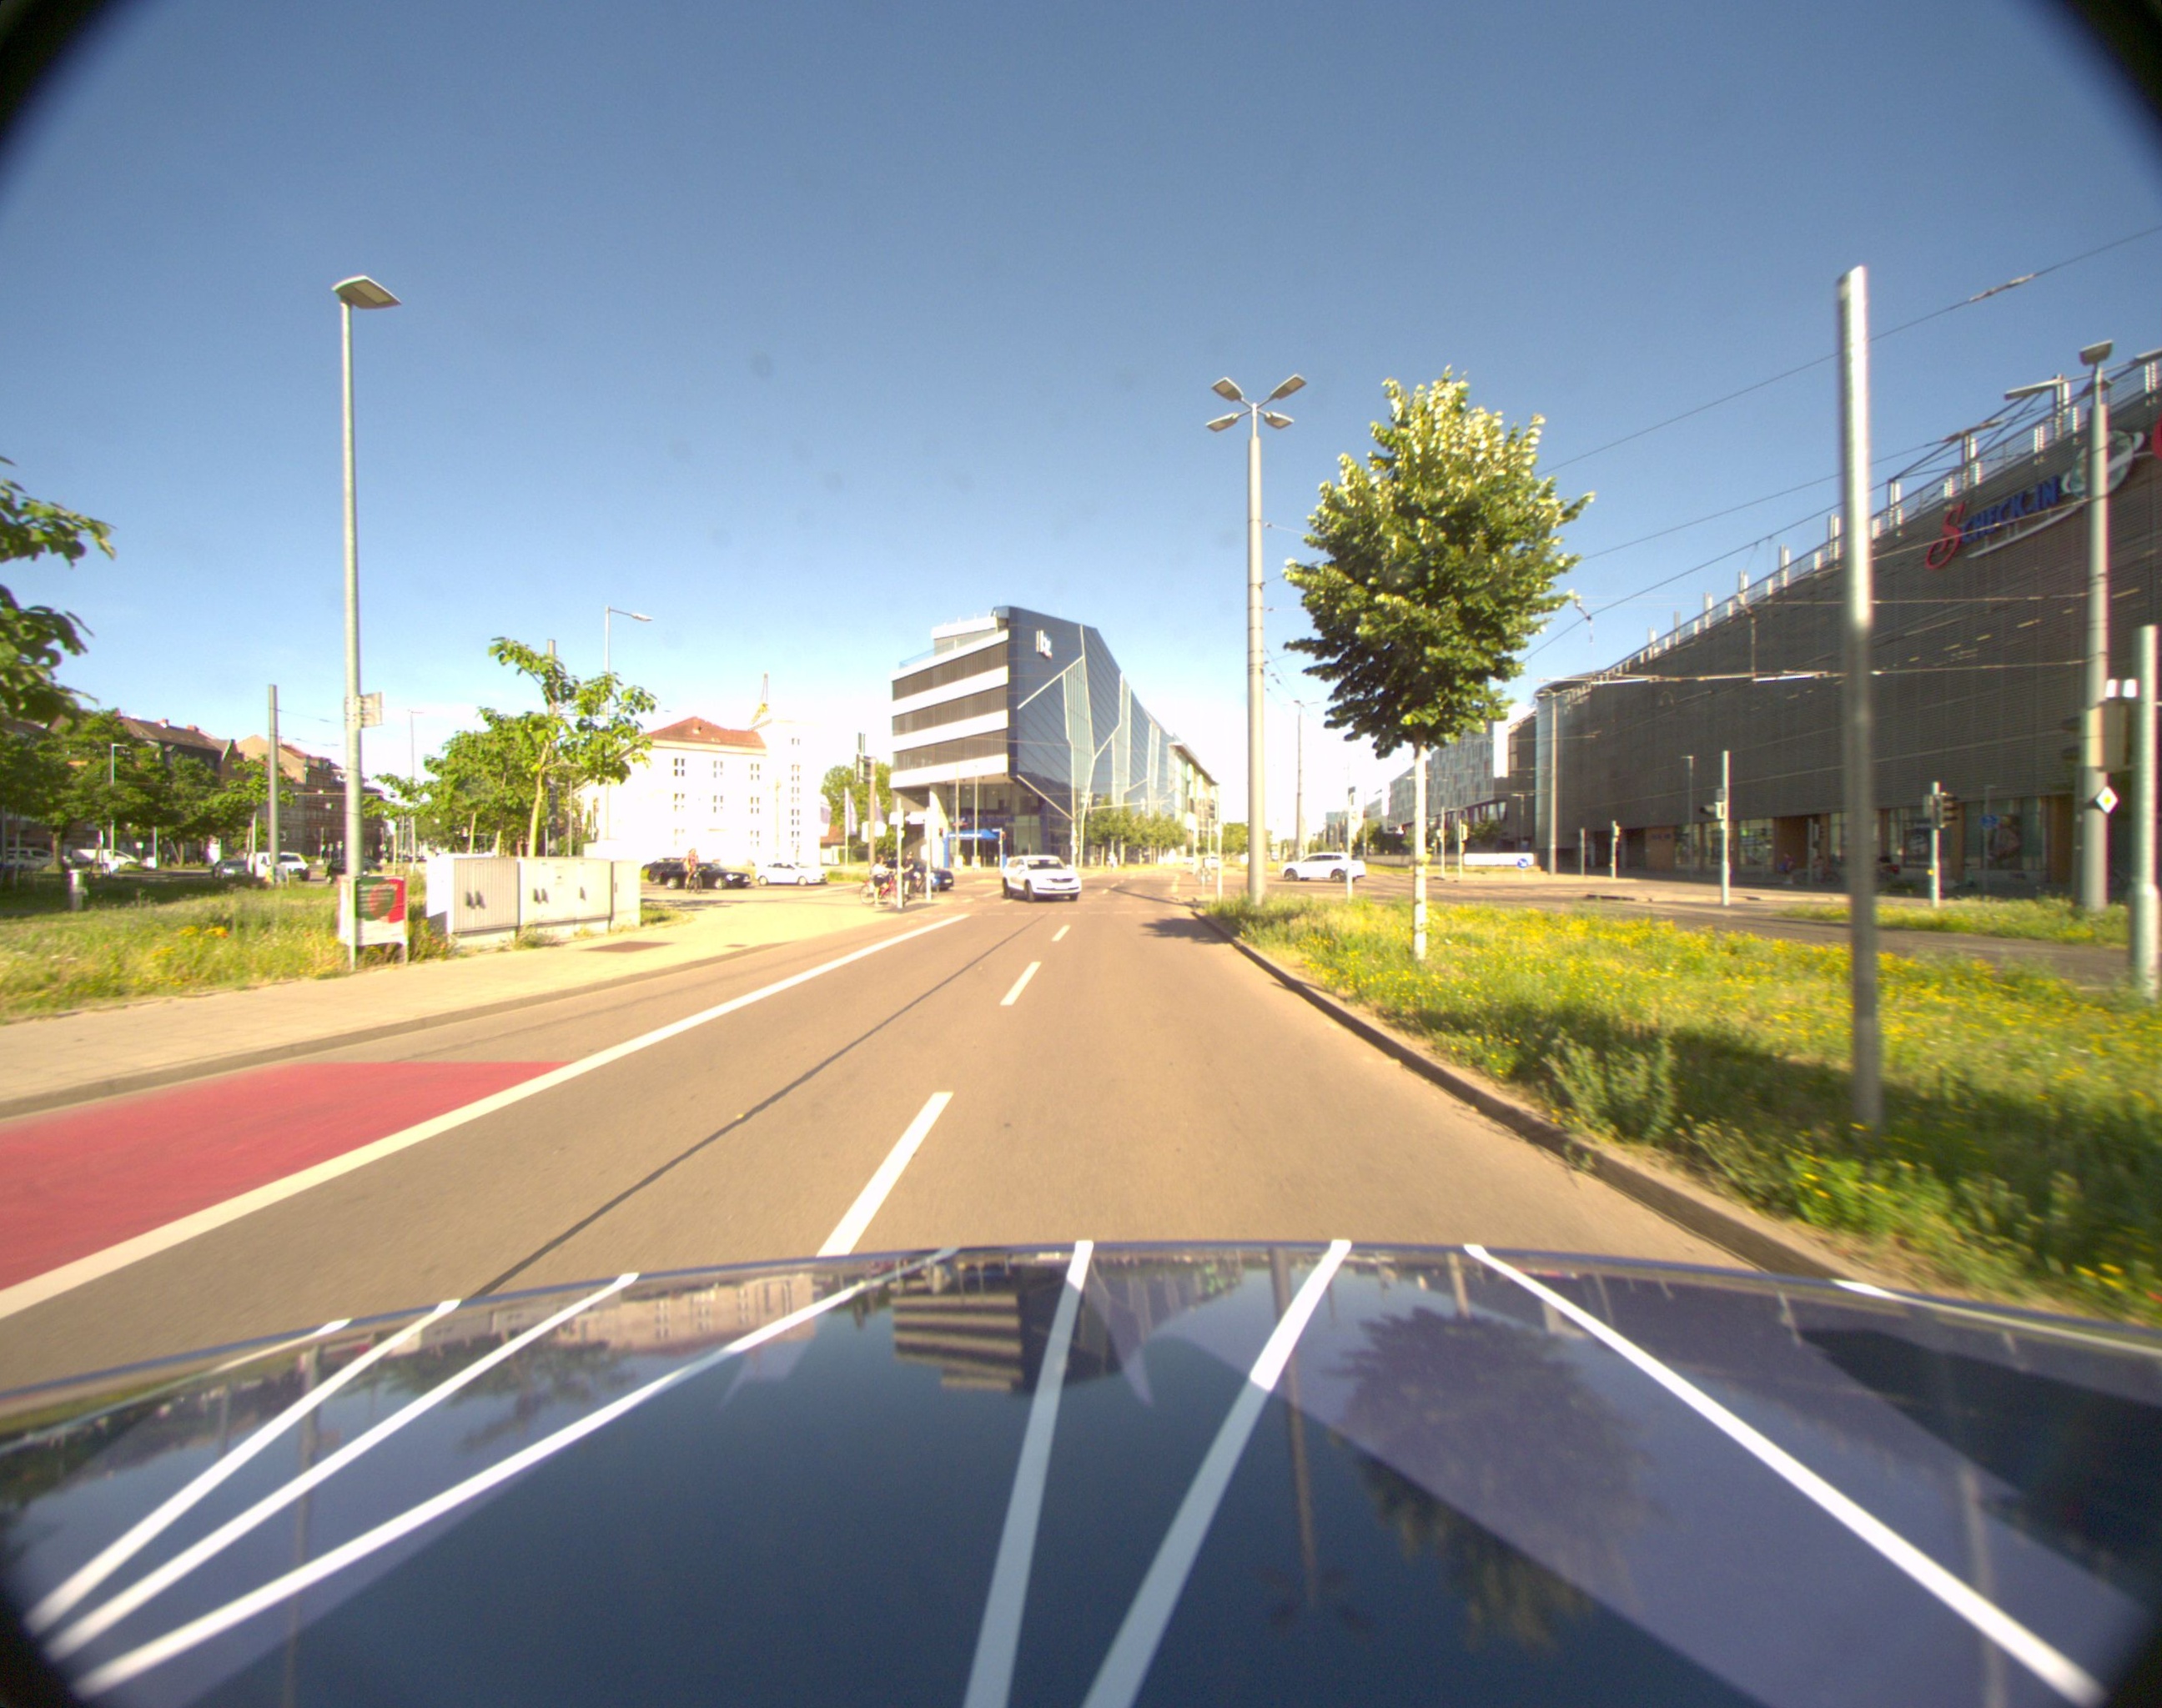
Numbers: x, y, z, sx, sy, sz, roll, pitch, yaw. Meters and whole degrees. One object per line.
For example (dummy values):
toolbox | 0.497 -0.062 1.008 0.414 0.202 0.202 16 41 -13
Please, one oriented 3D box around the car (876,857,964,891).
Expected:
car | -7.773 0.919 36.577 3.988 1.547 1.879 0 0 32

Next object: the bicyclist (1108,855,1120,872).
bicyclist | 2.878 0.807 65.602 0.760 1.401 0.773 0 1 25

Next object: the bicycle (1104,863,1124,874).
bicycle | 2.885 1.232 65.650 0.768 0.835 2.573 0 0 25

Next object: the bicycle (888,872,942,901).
bicycle | -6.385 1.236 29.249 1.893 1.031 0.607 1 0 7

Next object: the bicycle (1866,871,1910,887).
bicycle | 45.447 1.404 42.823 0.681 0.862 2.050 0 0 12

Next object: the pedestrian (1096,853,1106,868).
pedestrian | 2.030 0.649 76.404 0.855 1.546 0.614 0 1 19

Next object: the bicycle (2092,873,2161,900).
bicycle | 43.941 1.362 31.924 0.572 1.032 1.952 0 0 9

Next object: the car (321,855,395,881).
car | -44.800 0.827 47.109 3.990 1.547 1.878 0 0 23

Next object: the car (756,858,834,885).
car | -16.202 0.974 43.127 3.829 1.423 1.670 0 3 13

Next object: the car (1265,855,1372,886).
car | 13.423 0.888 43.171 5.530 1.642 1.818 0 0 41

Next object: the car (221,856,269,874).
car | -61.891 0.816 56.223 4.641 1.263 1.879 0 0 36

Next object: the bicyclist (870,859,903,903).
bicyclist | -6.299 0.877 24.666 0.826 1.395 0.590 1 0 13

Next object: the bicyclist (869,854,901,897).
bicyclist | -7.942 0.868 30.766 1.001 1.644 0.596 3 0 15

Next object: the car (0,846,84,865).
car | -85.858 0.117 62.466 1.995 1.453 4.409 0 0 25

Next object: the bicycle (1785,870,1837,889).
bicycle | 40.372 1.385 42.050 0.560 0.980 2.018 0 0 -20

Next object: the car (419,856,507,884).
car | -35.861 0.887 44.126 3.992 1.547 1.877 0 0 14

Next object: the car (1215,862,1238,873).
car | 14.767 1.338 76.911 1.996 1.084 4.005 0 0 15

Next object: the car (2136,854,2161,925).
car | 31.562 1.009 19.350 2.225 2.002 5.257 0 0 4

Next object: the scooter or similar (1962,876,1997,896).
scooter or similar | 40.407 1.433 34.171 0.301 0.846 1.228 0 0 11

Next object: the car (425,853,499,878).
car | -40.340 0.739 49.560 3.991 1.547 1.877 0 0 18

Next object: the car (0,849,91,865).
car | -83.398 0.238 61.008 1.995 1.227 4.409 0 0 25

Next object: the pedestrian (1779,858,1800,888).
pedestrian | 41.201 1.119 44.199 0.589 1.741 0.625 0 1 -5

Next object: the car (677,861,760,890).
car | -19.076 1.122 40.019 3.830 1.425 1.588 0 0 16

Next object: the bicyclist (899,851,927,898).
bicyclist | -6.467 0.794 29.267 0.905 1.787 0.550 1 0 8

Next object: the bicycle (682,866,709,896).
bicycle | -15.145 1.059 29.829 0.698 1.098 2.006 3 -1 -34

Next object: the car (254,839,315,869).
car | -53.801 -0.024 51.320 4.641 1.970 1.879 0 0 32

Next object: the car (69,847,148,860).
car | -96.958 -0.037 75.861 1.996 1.203 4.406 0 0 15

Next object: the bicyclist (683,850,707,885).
bicyclist | -15.253 0.540 30.035 0.698 1.369 0.736 3 -1 -34

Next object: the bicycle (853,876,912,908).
bicycle | -6.435 1.229 24.657 1.704 0.948 0.697 1 0 13

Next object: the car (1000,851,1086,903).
car | -1.500 0.769 28.069 1.877 1.621 4.328 -1 3 -22

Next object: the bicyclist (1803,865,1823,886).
bicyclist | 40.412 1.187 41.952 0.560 1.133 0.562 0 1 -20

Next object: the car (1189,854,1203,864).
car | 20.808 0.894 137.448 1.996 1.718 4.005 0 0 15

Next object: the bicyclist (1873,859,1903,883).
bicyclist | 45.436 0.937 42.771 0.681 1.310 1.040 0 0 12

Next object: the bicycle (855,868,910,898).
bicycle | -8.021 1.182 30.776 2.007 1.098 0.698 3 -1 14
